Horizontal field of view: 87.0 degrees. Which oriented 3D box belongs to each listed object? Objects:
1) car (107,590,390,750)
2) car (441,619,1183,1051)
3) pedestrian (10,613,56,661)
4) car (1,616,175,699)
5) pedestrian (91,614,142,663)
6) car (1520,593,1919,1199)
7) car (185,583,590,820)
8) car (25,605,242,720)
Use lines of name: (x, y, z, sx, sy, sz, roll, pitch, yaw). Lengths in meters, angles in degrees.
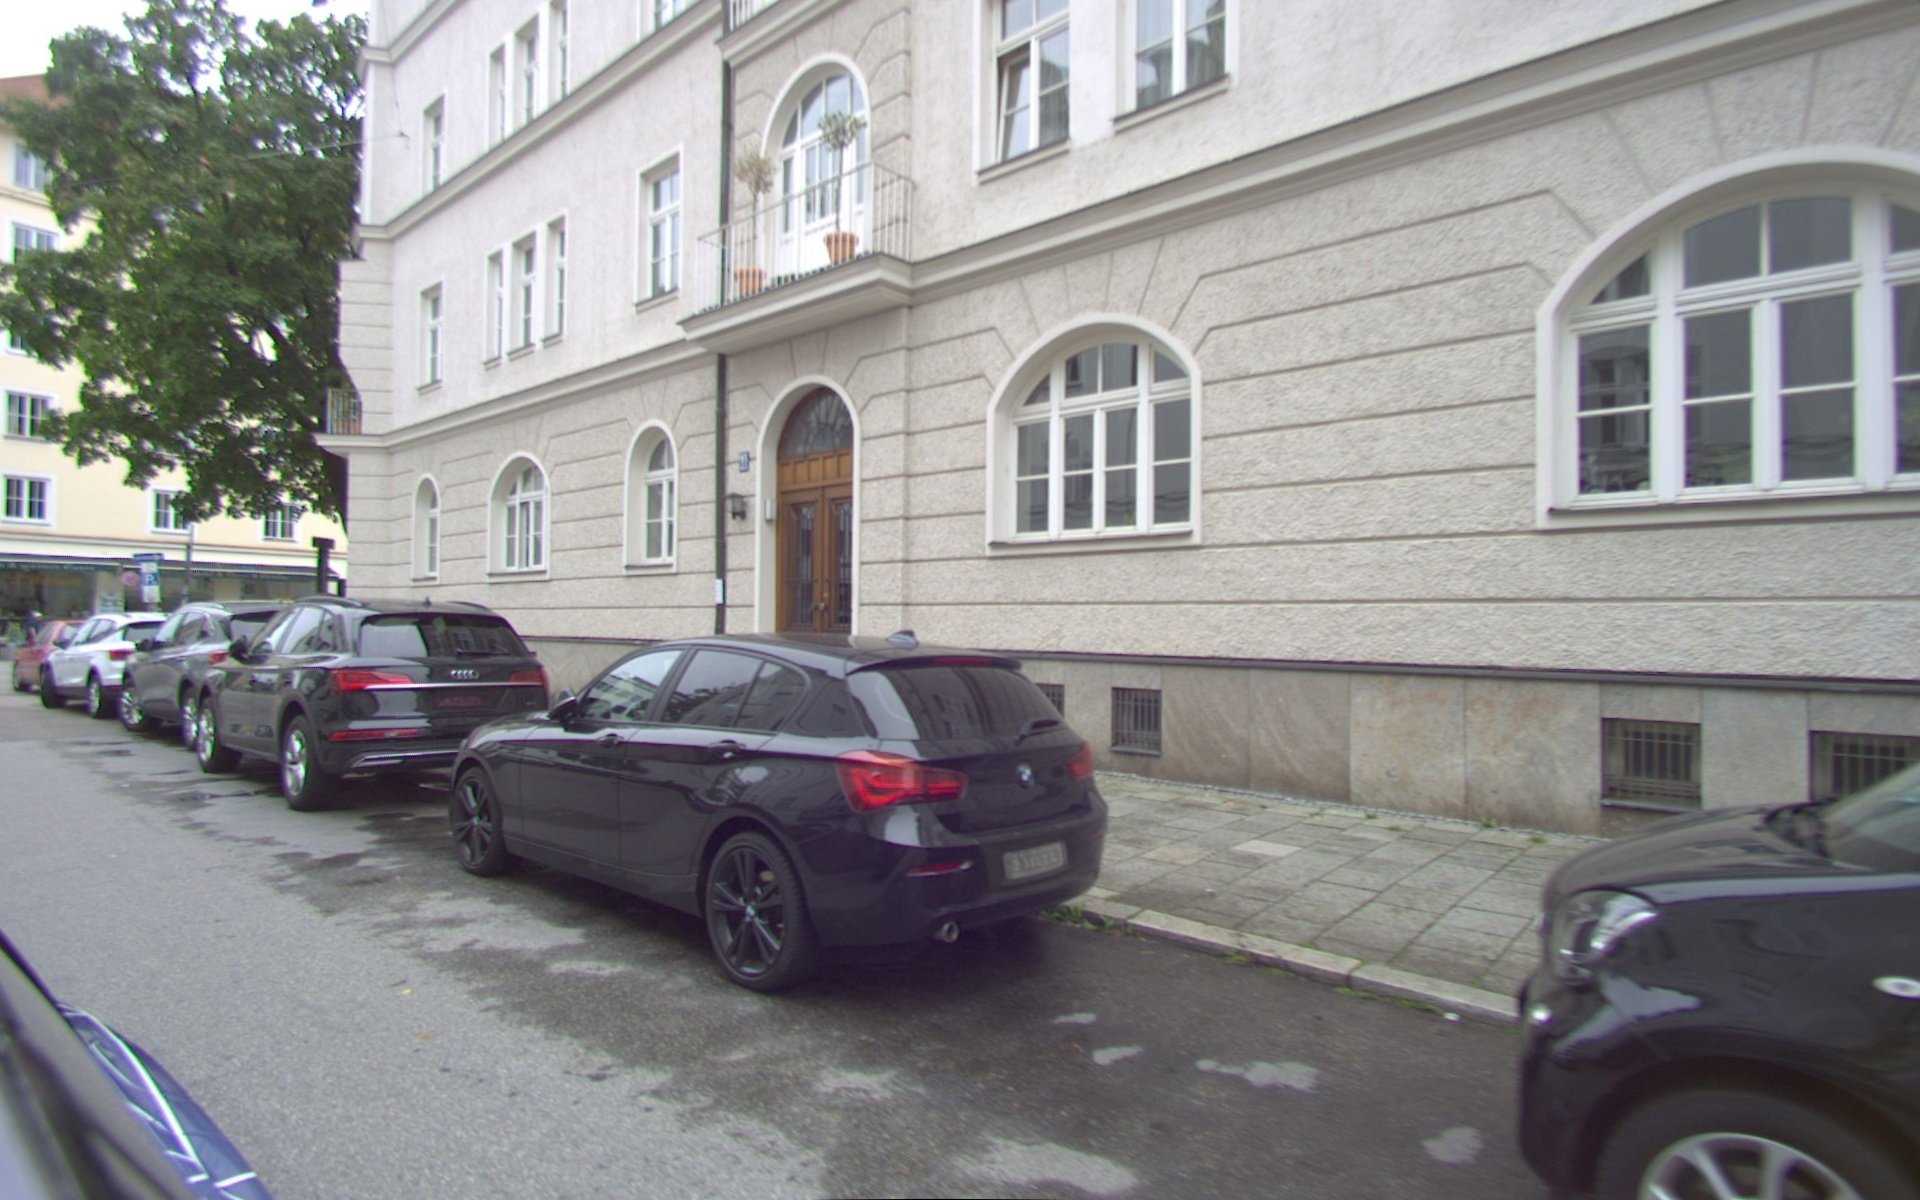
car: (-9.038, 0.787, 12.734, 4.208, 1.690, 1.818, -1, -2, 39)
car: (-1.050, 0.833, 5.355, 4.091, 1.417, 1.637, -1, -3, 42)
pedestrian: (-31.755, 1.256, 34.687, 0.907, 1.623, 0.778, 0, -1, -20)
car: (-16.564, 1.033, 19.155, 4.473, 1.403, 1.664, -1, -3, 38)
pedestrian: (-29.624, 1.344, 35.553, 0.868, 1.689, 1.113, -1, -2, 31)
car: (3.078, 0.767, 1.704, 3.527, 1.525, 1.600, -1, -3, 39)
car: (-5.298, 0.740, 9.098, 4.432, 1.611, 1.856, -1, -2, 42)
car: (-12.969, 0.883, 15.822, 3.943, 1.580, 1.679, 0, -1, 36)
